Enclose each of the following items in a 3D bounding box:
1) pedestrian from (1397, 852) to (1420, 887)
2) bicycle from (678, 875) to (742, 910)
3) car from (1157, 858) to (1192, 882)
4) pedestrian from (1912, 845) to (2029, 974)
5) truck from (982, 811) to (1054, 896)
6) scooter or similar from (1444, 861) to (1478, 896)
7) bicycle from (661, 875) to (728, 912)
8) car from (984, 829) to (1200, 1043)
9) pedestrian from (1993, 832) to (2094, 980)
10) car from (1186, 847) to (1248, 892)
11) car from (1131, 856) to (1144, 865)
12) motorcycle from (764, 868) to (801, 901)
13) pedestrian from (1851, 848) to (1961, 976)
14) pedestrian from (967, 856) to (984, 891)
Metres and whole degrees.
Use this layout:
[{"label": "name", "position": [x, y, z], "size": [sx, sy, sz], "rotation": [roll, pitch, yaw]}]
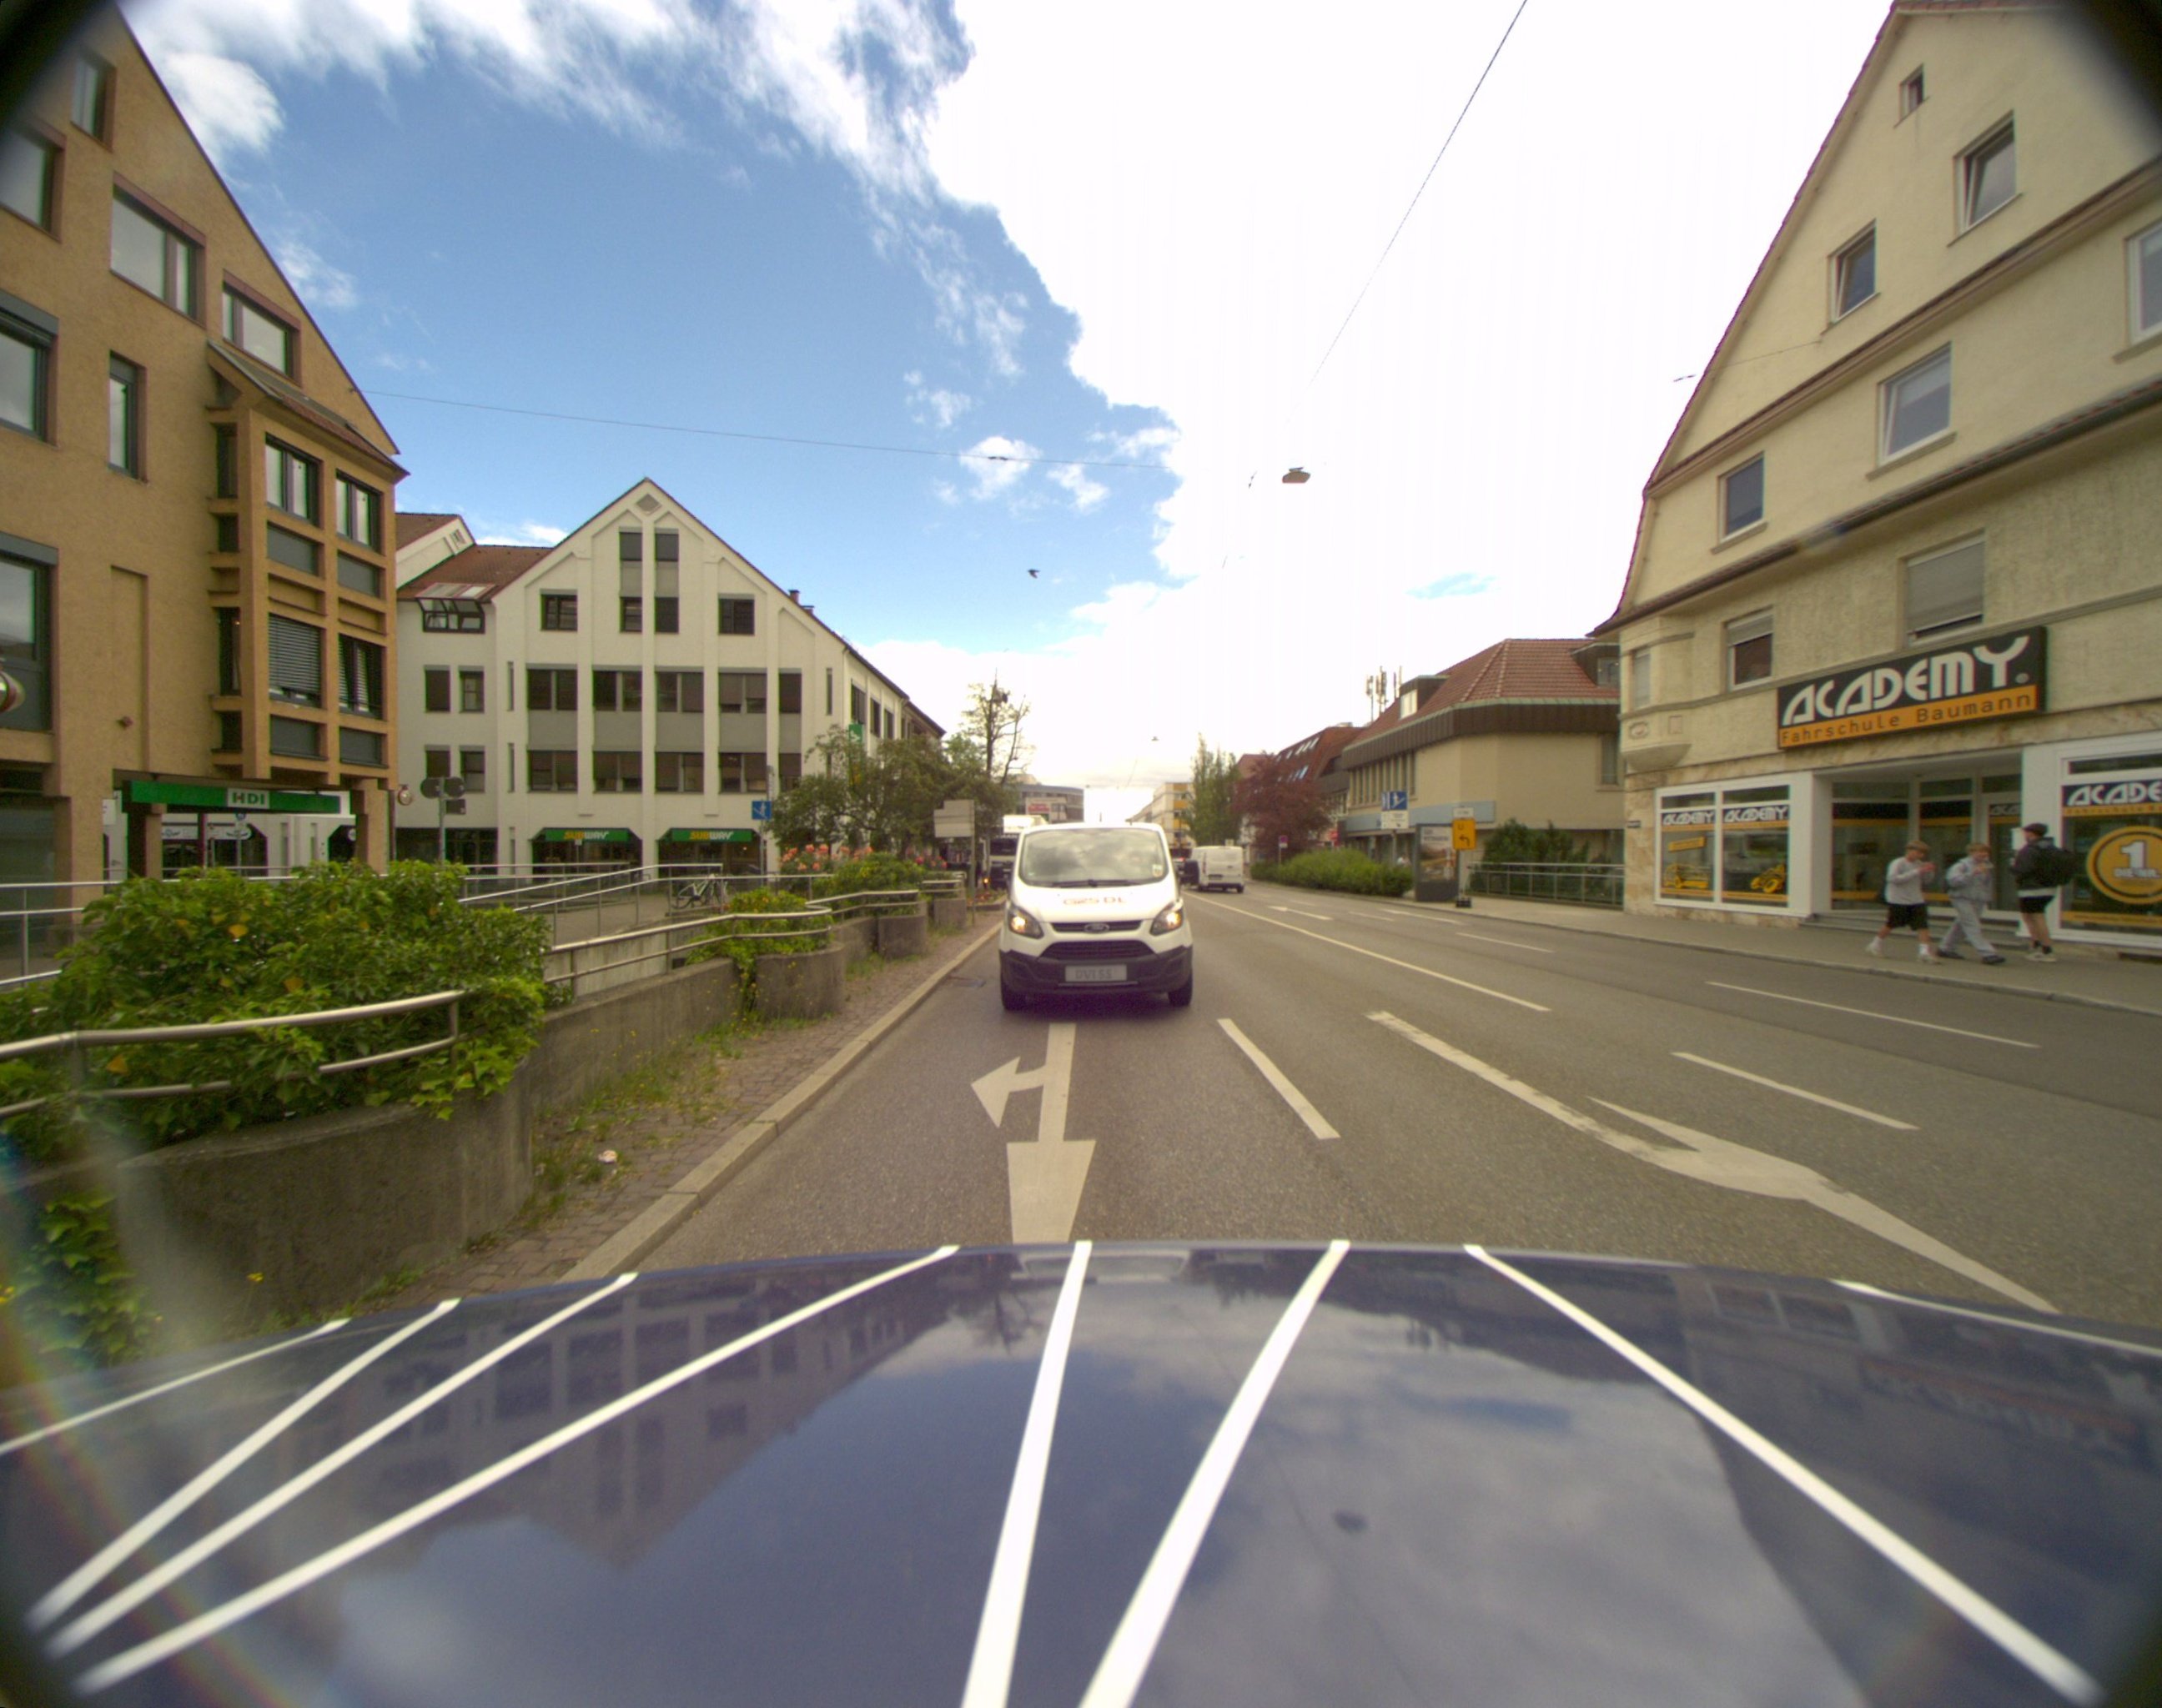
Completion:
[{"label": "pedestrian", "position": [16.897, 0.794, 39.273], "size": [0.835, 1.748, 0.838], "rotation": [0, 0, 1]}, {"label": "bicycle", "position": [-10.709, 1.107, 21.951], "size": [1.594, 0.963, 0.461], "rotation": [0, 0, -14]}, {"label": "car", "position": [5.615, 0.919, 45.754], "size": [1.650, 1.391, 3.542], "rotation": [0, 0, 0]}, {"label": "pedestrian", "position": [12.041, 0.725, 10.305], "size": [0.689, 1.660, 0.709], "rotation": [-3, 0, 0]}, {"label": "truck", "position": [-2.798, -0.046, 35.927], "size": [2.446, 3.464, 8.347], "rotation": [-2, 1, 1]}, {"label": "scooter or similar", "position": [15.405, 0.976, 30.791], "size": [1.193, 1.385, 0.538], "rotation": [0, 0, -15]}, {"label": "bicycle", "position": [-10.719, 1.082, 21.116], "size": [1.594, 0.996, 0.414], "rotation": [0, 0, -13]}, {"label": "car", "position": [0.104, 0.752, 9.533], "size": [1.964, 1.948, 5.164], "rotation": [0, 0, 0]}, {"label": "pedestrian", "position": [12.714, 0.665, 10.055], "size": [0.551, 1.877, 0.592], "rotation": [-2, 0, -4]}, {"label": "car", "position": [5.919, 0.646, 33.625], "size": [1.957, 1.898, 4.321], "rotation": [0, 0, 0]}, {"label": "car", "position": [8.926, 0.944, 119.933], "size": [1.650, 1.391, 3.542], "rotation": [0, 0, 0]}, {"label": "motorcycle", "position": [-10.205, 1.022, 26.043], "size": [0.464, 1.062, 1.995], "rotation": [0, 0, 0]}, {"label": "pedestrian", "position": [11.332, 0.773, 10.459], "size": [0.689, 1.680, 0.742], "rotation": [-1, 0, 0]}, {"label": "pedestrian", "position": [-4.774, 0.884, 34.522], "size": [0.653, 1.568, 0.684], "rotation": [-1, 0, 1]}]
